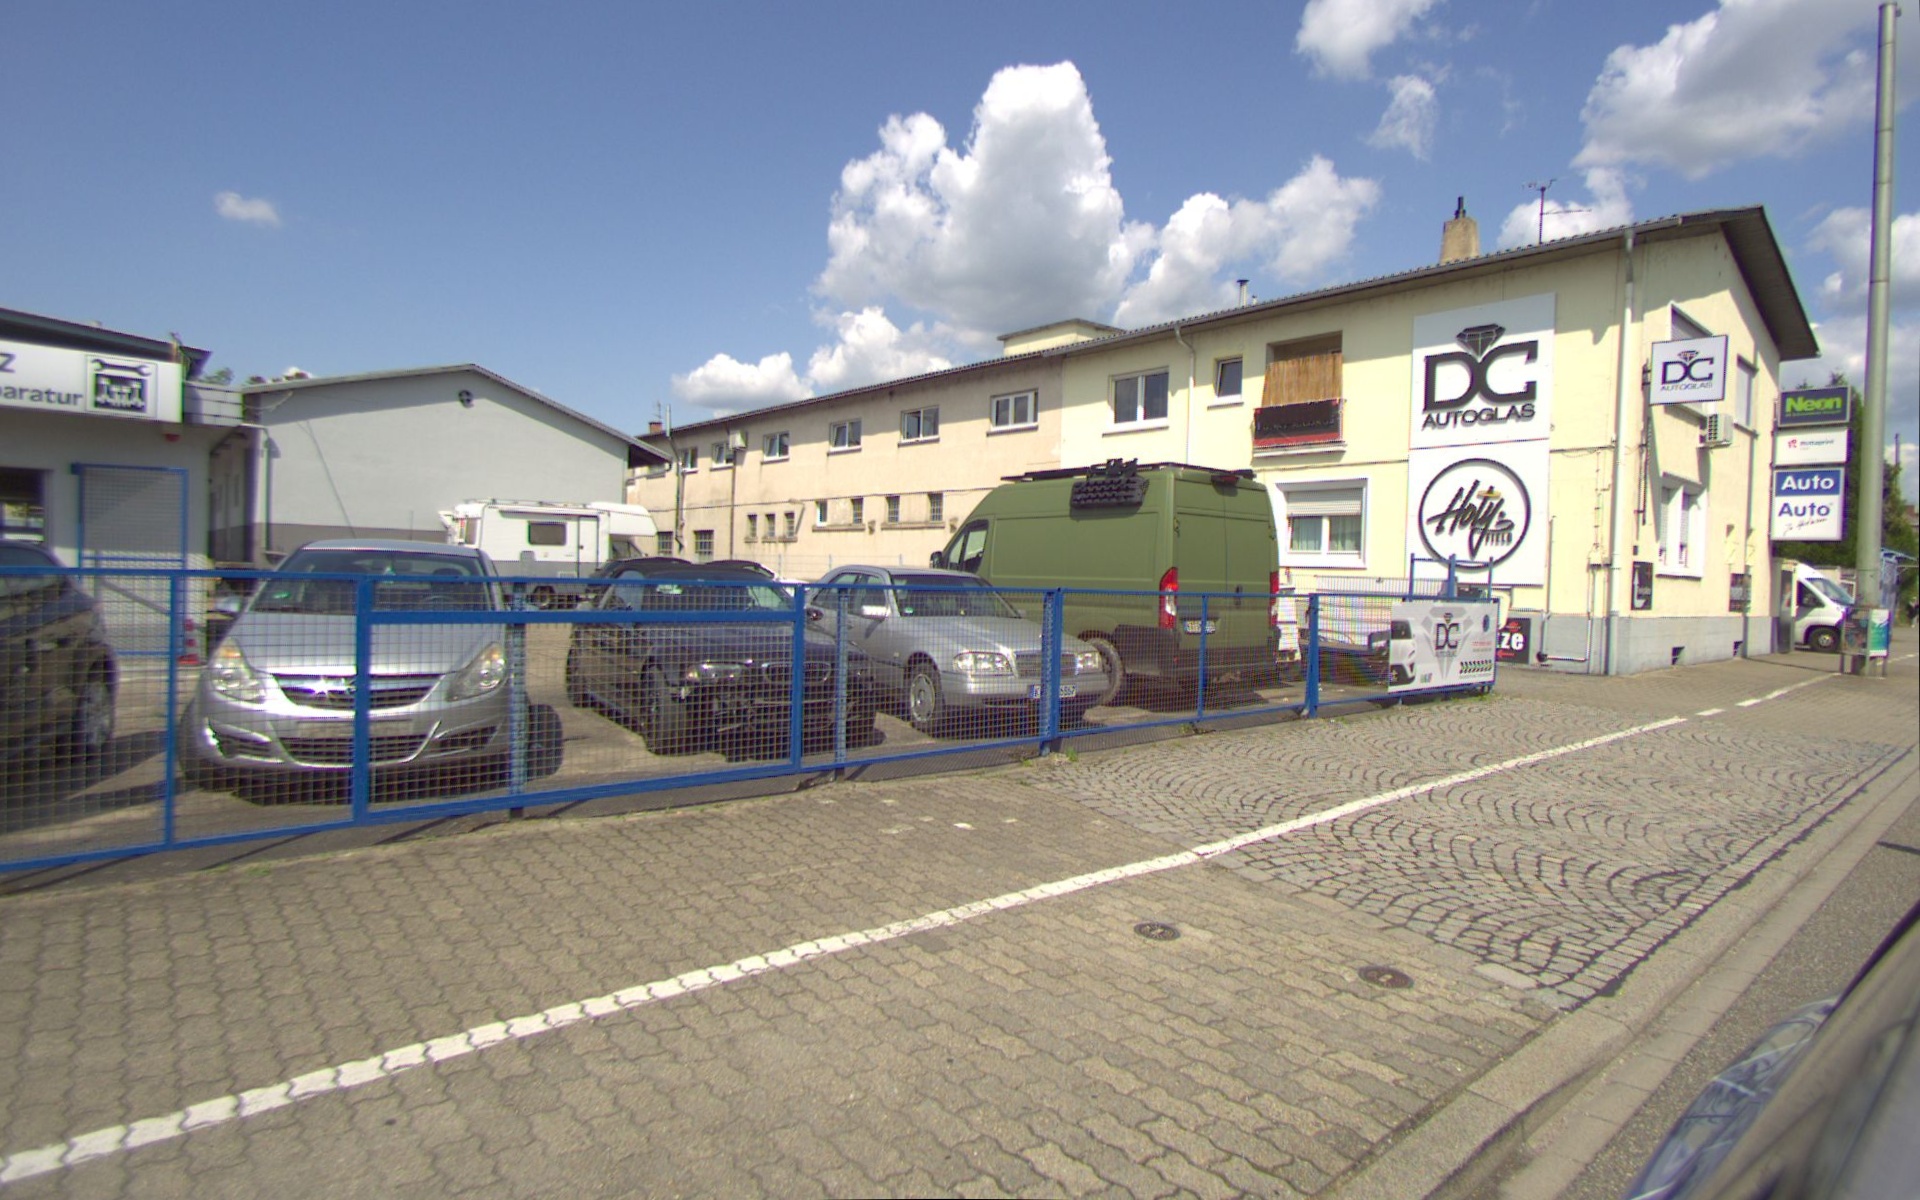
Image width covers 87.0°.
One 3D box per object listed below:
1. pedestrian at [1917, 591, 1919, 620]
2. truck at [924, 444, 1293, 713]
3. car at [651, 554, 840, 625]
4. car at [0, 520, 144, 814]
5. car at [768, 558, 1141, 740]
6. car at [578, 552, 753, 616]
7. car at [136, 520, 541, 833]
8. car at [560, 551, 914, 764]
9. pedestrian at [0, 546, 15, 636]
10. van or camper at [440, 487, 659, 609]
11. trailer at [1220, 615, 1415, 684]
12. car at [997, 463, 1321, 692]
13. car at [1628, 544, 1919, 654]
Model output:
[{"bbox_3d":[53.045,0.305,55.391,0.902,1.606,0.816,1,1,-41],"label":"pedestrian"},{"bbox_3d":[1.620,-0.286,12.142,2.033,2.639,3.996,1,2,-40],"label":"truck"},{"bbox_3d":[-4.928,-0.247,23.516,3.939,1.497,1.719,0,2,-41],"label":"car"},{"bbox_3d":[-5.750,0.323,5.031,1.685,1.497,4.012,1,2,-25],"label":"car"},{"bbox_3d":[-0.299,0.319,10.202,1.768,1.413,4.216,1,2,-33],"label":"car"},{"bbox_3d":[-7.481,-0.411,25.886,3.939,1.497,1.719,0,2,-41],"label":"car"},{"bbox_3d":[-3.954,0.301,7.099,1.766,1.497,4.158,1,2,-24],"label":"car"},{"bbox_3d":[-2.128,0.309,8.743,1.768,1.403,3.837,1,2,-32],"label":"car"},{"bbox_3d":[-13.261,-0.129,13.838,0.479,1.228,0.501,1,1,-42],"label":"pedestrian"},{"bbox_3d":[-11.010,-1.324,27.365,4.971,2.999,2.284,0,2,-42],"label":"van or camper"},{"bbox_3d":[5.079,0.669,14.525,1.245,0.776,2.330,0,2,-39],"label":"trailer"},{"bbox_3d":[2.609,-0.346,14.139,1.771,2.702,4.208,1,2,-40],"label":"car"},{"bbox_3d":[22.220,-0.143,27.804,1.963,2.404,5.989,1,5,-38],"label":"car"}]
